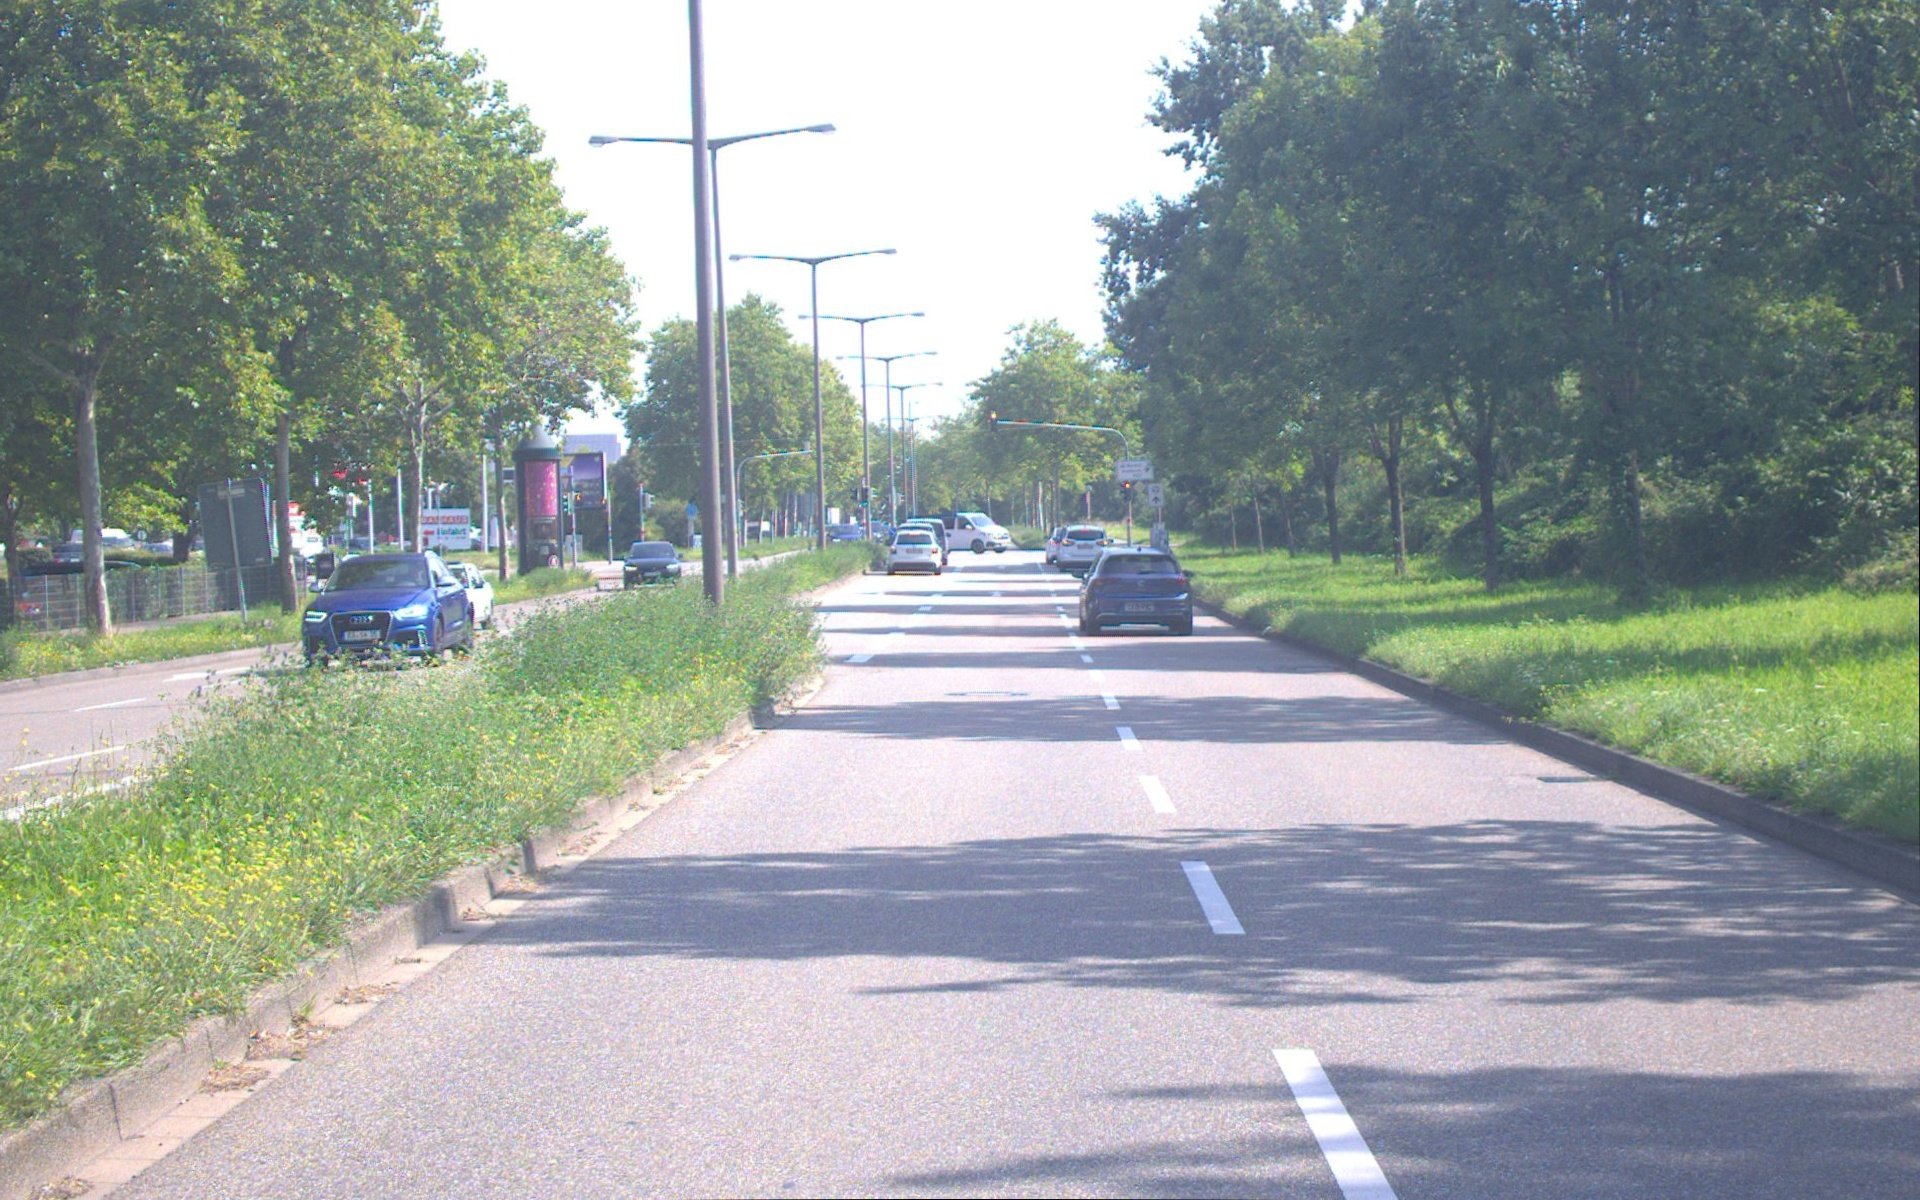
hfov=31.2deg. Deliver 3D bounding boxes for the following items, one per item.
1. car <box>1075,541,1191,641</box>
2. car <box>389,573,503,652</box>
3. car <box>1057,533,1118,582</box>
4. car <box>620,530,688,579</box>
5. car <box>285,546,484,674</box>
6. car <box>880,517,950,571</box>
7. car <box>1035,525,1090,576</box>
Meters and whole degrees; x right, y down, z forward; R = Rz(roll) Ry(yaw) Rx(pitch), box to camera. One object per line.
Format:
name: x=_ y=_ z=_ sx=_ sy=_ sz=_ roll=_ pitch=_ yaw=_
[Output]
car: x=2.846 y=-0.181 z=57.222 sx=1.780 sy=1.423 sz=4.001 roll=0 pitch=4 yaw=1
car: x=-10.084 y=0.222 z=67.675 sx=1.795 sy=1.412 sz=4.411 roll=-3 pitch=0 yaw=-4
car: x=4.455 y=-1.492 z=120.707 sx=1.993 sy=1.648 sz=4.000 roll=-2 pitch=1 yaw=1
car: x=-9.519 y=-1.419 z=107.301 sx=1.795 sy=1.412 sz=4.411 roll=-3 pitch=1 yaw=-2
car: x=-7.866 y=0.101 z=47.396 sx=1.993 sy=1.579 sz=4.347 roll=-3 pitch=1 yaw=-1
car: x=-1.465 y=-1.858 z=113.704 sx=1.994 sy=1.696 sz=4.000 roll=-2 pitch=1 yaw=3
car: x=4.026 y=-1.980 z=135.406 sx=1.993 sy=1.648 sz=4.001 roll=-2 pitch=5 yaw=0
